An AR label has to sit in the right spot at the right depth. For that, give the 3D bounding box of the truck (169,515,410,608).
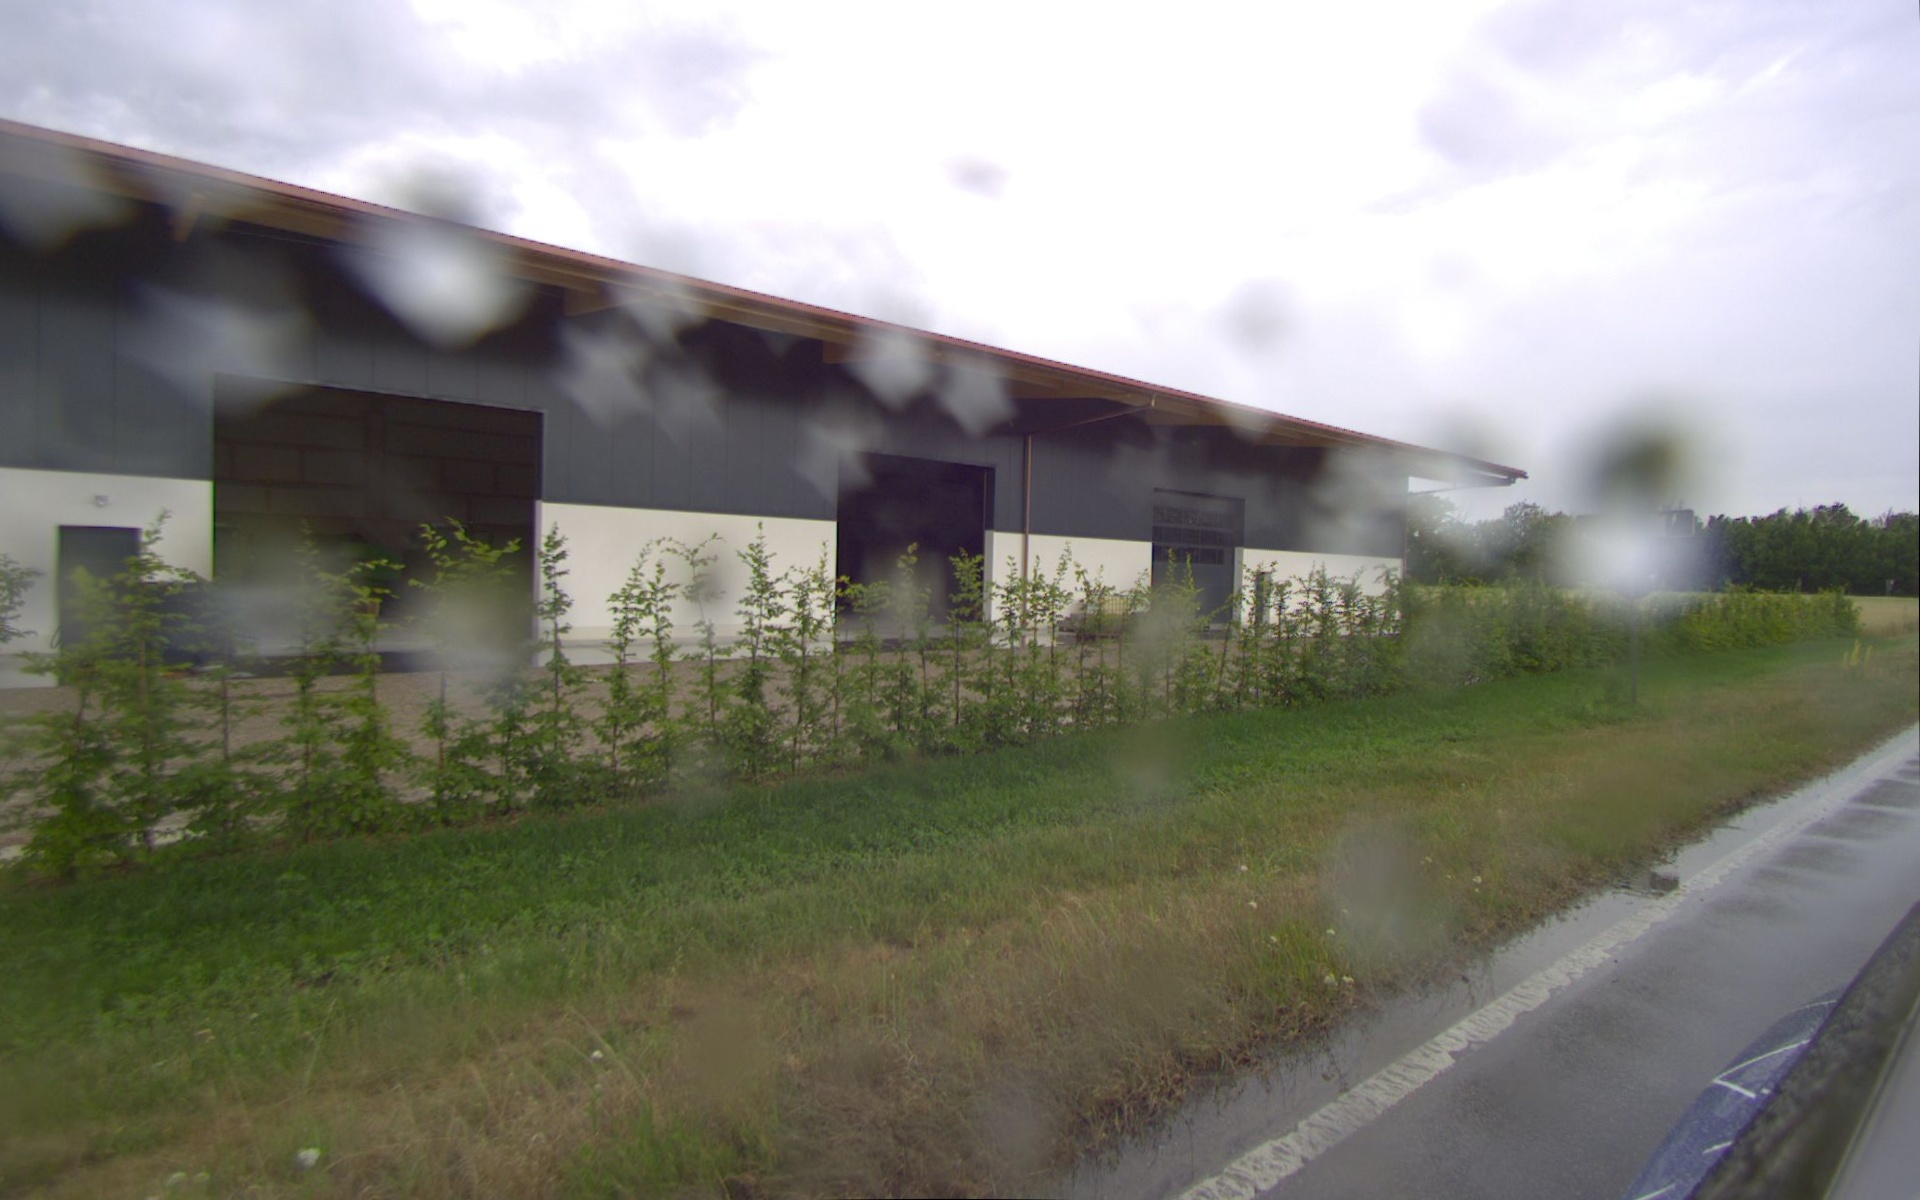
[{"bbox_3d":[-20.695,-1.142,31.441,6.046,2.639,2.122,0,2,-40],"label":"truck"}]
